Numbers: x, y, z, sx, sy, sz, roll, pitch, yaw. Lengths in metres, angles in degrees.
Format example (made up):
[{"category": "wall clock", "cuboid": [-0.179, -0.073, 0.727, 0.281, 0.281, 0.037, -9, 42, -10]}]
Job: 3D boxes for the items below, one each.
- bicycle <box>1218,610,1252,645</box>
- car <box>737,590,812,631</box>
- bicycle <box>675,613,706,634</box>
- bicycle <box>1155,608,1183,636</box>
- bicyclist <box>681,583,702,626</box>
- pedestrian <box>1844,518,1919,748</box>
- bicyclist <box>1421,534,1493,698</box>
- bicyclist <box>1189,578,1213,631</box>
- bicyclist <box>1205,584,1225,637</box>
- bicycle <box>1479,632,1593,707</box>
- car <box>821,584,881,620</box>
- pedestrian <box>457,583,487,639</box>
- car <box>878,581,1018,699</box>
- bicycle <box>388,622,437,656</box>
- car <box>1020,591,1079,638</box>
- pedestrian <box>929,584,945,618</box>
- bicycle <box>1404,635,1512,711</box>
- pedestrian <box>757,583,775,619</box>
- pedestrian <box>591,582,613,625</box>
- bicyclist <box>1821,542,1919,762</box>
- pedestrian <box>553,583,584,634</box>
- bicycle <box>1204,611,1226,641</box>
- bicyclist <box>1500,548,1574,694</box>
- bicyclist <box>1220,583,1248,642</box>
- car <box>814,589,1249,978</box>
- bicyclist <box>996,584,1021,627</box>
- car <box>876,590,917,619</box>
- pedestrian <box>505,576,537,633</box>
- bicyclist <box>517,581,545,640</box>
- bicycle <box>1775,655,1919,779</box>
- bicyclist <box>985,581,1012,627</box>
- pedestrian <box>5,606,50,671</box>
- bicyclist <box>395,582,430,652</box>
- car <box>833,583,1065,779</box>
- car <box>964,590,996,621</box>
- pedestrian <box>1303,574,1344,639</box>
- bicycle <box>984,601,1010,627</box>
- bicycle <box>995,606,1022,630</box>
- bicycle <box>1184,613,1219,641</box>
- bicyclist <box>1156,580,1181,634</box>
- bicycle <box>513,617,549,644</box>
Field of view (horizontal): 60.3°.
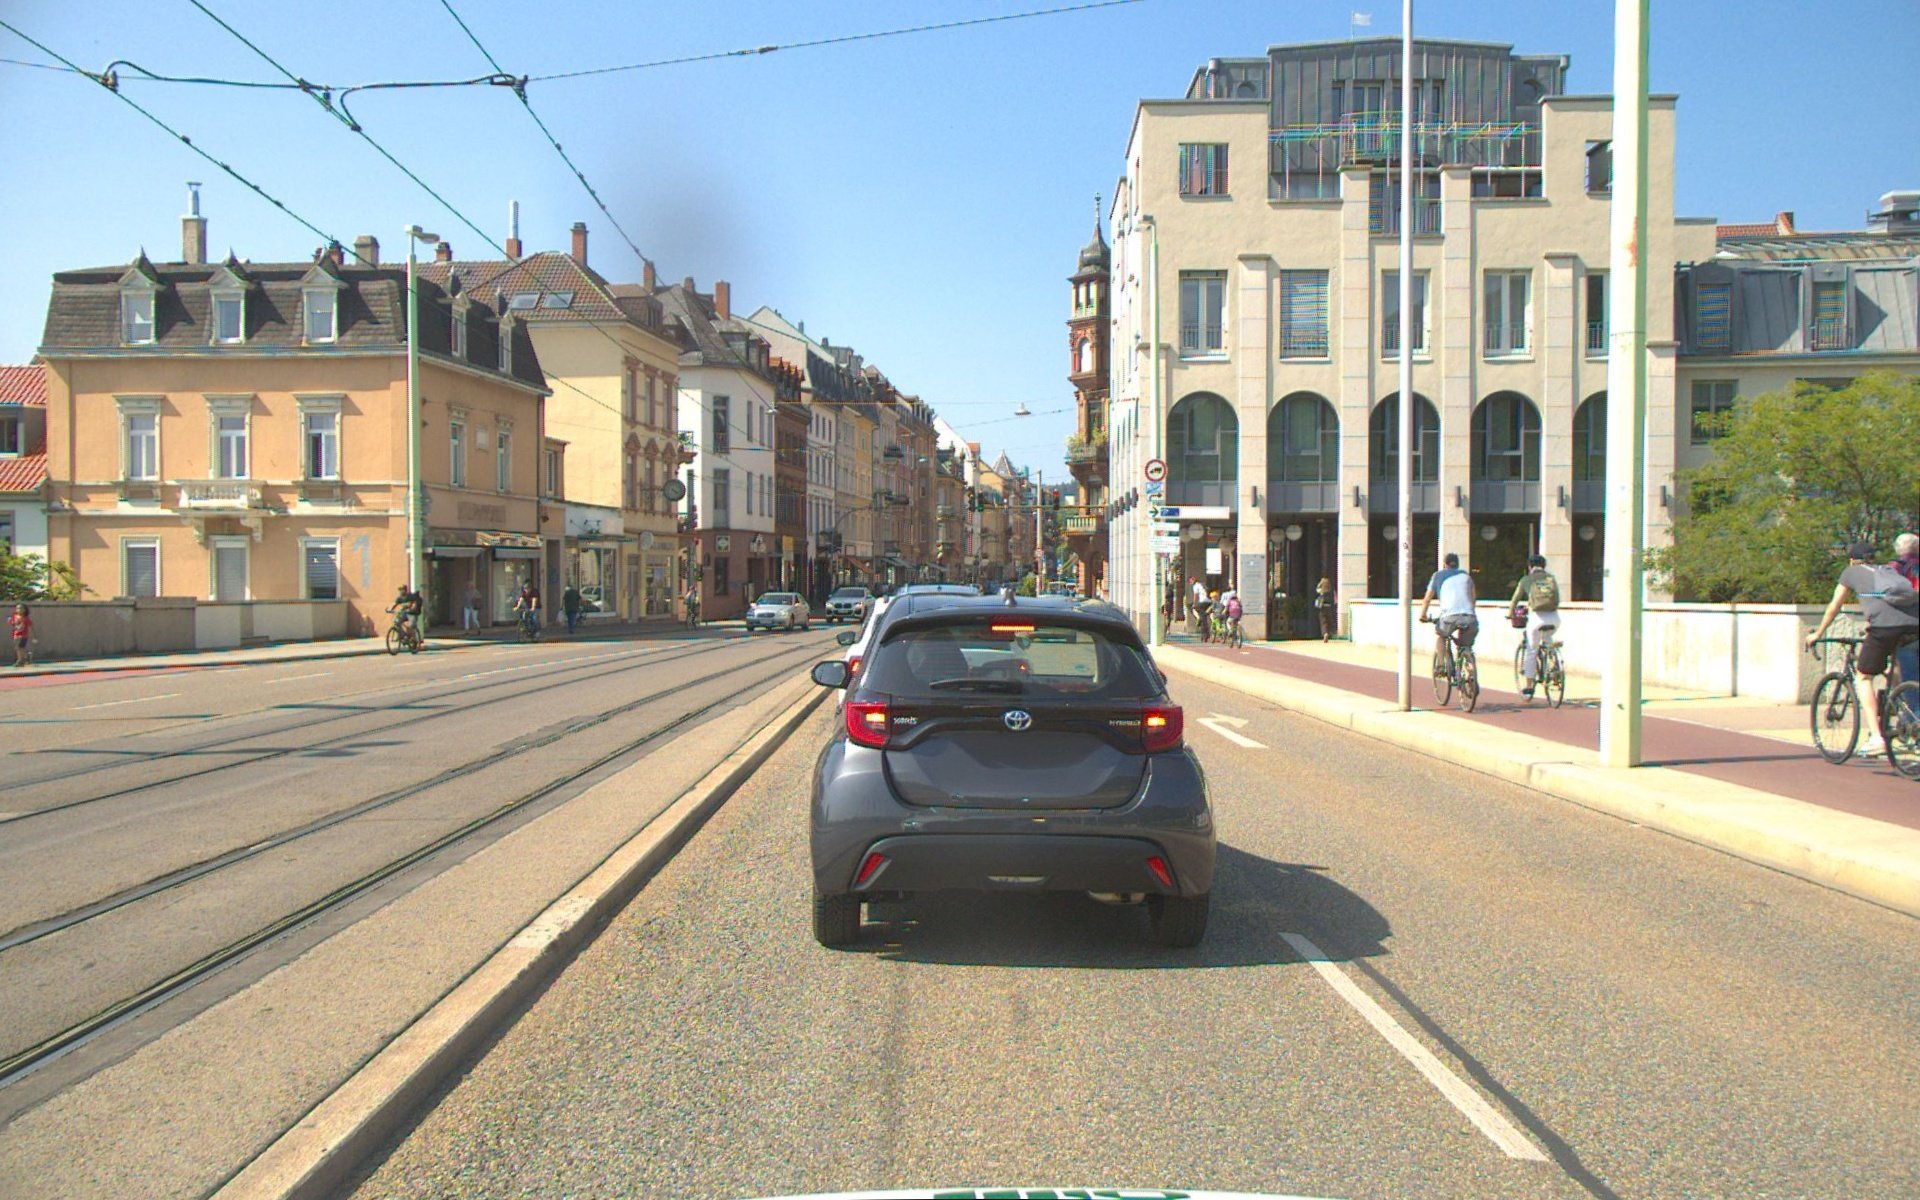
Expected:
[{"category": "bicycle", "cuboid": [6.683, 0.663, 40.285, 0.503, 0.779, 1.660, -2, 0, -1]}, {"category": "car", "cuboid": [-6.913, 0.368, 62.089, 1.694, 1.486, 4.377, 0, 0, 9]}, {"category": "bicycle", "cuboid": [-10.656, 0.931, 65.497, 0.607, 0.728, 2.047, 2, 1, 8]}, {"category": "bicycle", "cuboid": [6.813, 0.712, 54.012, 0.689, 0.898, 1.525, -1, 0, 0]}, {"category": "bicyclist", "cuboid": [-10.629, 0.183, 65.504, 0.614, 1.679, 0.622, 2, 1, 8]}, {"category": "pedestrian", "cuboid": [7.980, 0.249, 13.687, 0.724, 1.833, 1.015, -2, 0, -1]}, {"category": "bicyclist", "cuboid": [5.750, 0.177, 19.161, 0.575, 1.852, 0.701, -1, 0, -3]}, {"category": "bicyclist", "cuboid": [6.866, 0.140, 47.098, 0.480, 1.492, 0.437, -2, 0, -40]}, {"category": "bicyclist", "cuboid": [6.894, 0.273, 44.742, 0.413, 1.407, 0.443, -2, 0, -1]}, {"category": "bicycle", "cuboid": [6.778, 0.799, 19.554, 0.582, 0.779, 1.865, -1, 0, -3]}, {"category": "car", "cuboid": [-5.068, 0.081, 77.628, 1.951, 1.614, 4.656, 0, 0, 7]}, {"category": "pedestrian", "cuboid": [-14.872, 0.332, 50.418, 0.636, 1.630, 0.566, 4, 0, -1]}, {"category": "car", "cuboid": [-0.209, 0.530, 24.361, 1.859, 1.557, 3.999, 1, 0, -1]}, {"category": "bicycle", "cuboid": [-13.323, 0.941, 40.260, 0.608, 0.728, 1.771, 2, 1, -1]}, {"category": "car", "cuboid": [2.998, 0.477, 56.116, 1.671, 1.491, 4.325, 1, 0, -1]}, {"category": "pedestrian", "cuboid": [-1.816, 0.063, 131.180, 1.030, 2.633, 1.501, 4, 0, -1]}, {"category": "bicycle", "cuboid": [5.755, 0.827, 19.204, 0.582, 0.779, 1.865, -1, 0, -3]}, {"category": "pedestrian", "cuboid": [-10.247, 0.049, 87.208, 0.721, 1.796, 0.787, 4, 0, -1]}, {"category": "pedestrian", "cuboid": [-14.170, 0.148, 65.526, 0.636, 1.629, 0.566, 4, 2, -1]}, {"category": "bicyclist", "cuboid": [6.915, 0.370, 12.337, 0.575, 1.586, 0.701, -1, 0, -3]}, {"category": "pedestrian", "cuboid": [-13.304, 0.280, 56.190, 0.746, 1.682, 0.712, 4, 0, 4]}, {"category": "bicycle", "cuboid": [6.902, 0.694, 44.748, 0.408, 0.779, 0.961, -2, 0, -1]}, {"category": "bicyclist", "cuboid": [6.780, 0.238, 19.464, 0.575, 1.679, 0.701, -1, 0, -3]}, {"category": "bicyclist", "cuboid": [6.667, 0.305, 40.308, 0.523, 1.407, 0.669, -2, 0, -1]}, {"category": "car", "cuboid": [0.245, 0.714, 8.334, 1.685, 1.499, 3.657, 1, 0, -1]}, {"category": "bicyclist", "cuboid": [3.076, 0.349, 104.769, 1.202, 2.572, 1.106, 4, 0, 10]}, {"category": "car", "cuboid": [-3.556, 0.231, 93.042, 1.756, 1.572, 3.923, 0, 0, 6]}, {"category": "pedestrian", "cuboid": [-14.486, 0.152, 54.567, 0.721, 1.796, 0.787, 4, 0, -1]}, {"category": "bicyclist", "cuboid": [-12.570, 0.304, 48.469, 0.614, 1.679, 0.622, 2, 1, -1]}, {"category": "bicycle", "cuboid": [6.920, 0.846, 12.436, 0.582, 0.779, 1.830, -1, 0, -3]}, {"category": "bicyclist", "cuboid": [2.253, 0.209, 96.191, 1.202, 2.572, 1.106, 4, 0, 11]}, {"category": "pedestrian", "cuboid": [-17.244, 0.713, 30.601, 0.403, 1.166, 0.545, 4, 0, 8]}, {"category": "bicyclist", "cuboid": [-13.318, 0.403, 40.225, 0.614, 1.679, 0.622, 2, 1, -1]}, {"category": "car", "cuboid": [-0.131, 0.652, 15.480, 1.859, 1.557, 3.999, 1, 0, -1]}, {"category": "car", "cuboid": [1.420, 0.421, 115.582, 1.952, 2.049, 4.001, 1, -1, 3]}, {"category": "pedestrian", "cuboid": [9.483, 0.170, 43.192, 0.724, 1.642, 1.015, 4, 0, -2]}, {"category": "bicycle", "cuboid": [2.165, 0.806, 96.244, 1.088, 1.444, 3.009, 3, 0, 9]}, {"category": "bicycle", "cuboid": [3.076, 1.144, 104.612, 1.088, 1.444, 3.009, 4, 0, 11]}, {"category": "bicycle", "cuboid": [6.878, 0.761, 47.101, 0.414, 0.779, 0.948, -2, 0, -39]}, {"category": "bicyclist", "cuboid": [6.803, 0.225, 54.050, 0.687, 1.725, 0.924, -1, 0, -1]}, {"category": "bicycle", "cuboid": [-12.586, 0.885, 48.548, 0.608, 0.728, 1.731, 2, 1, -1]}]
